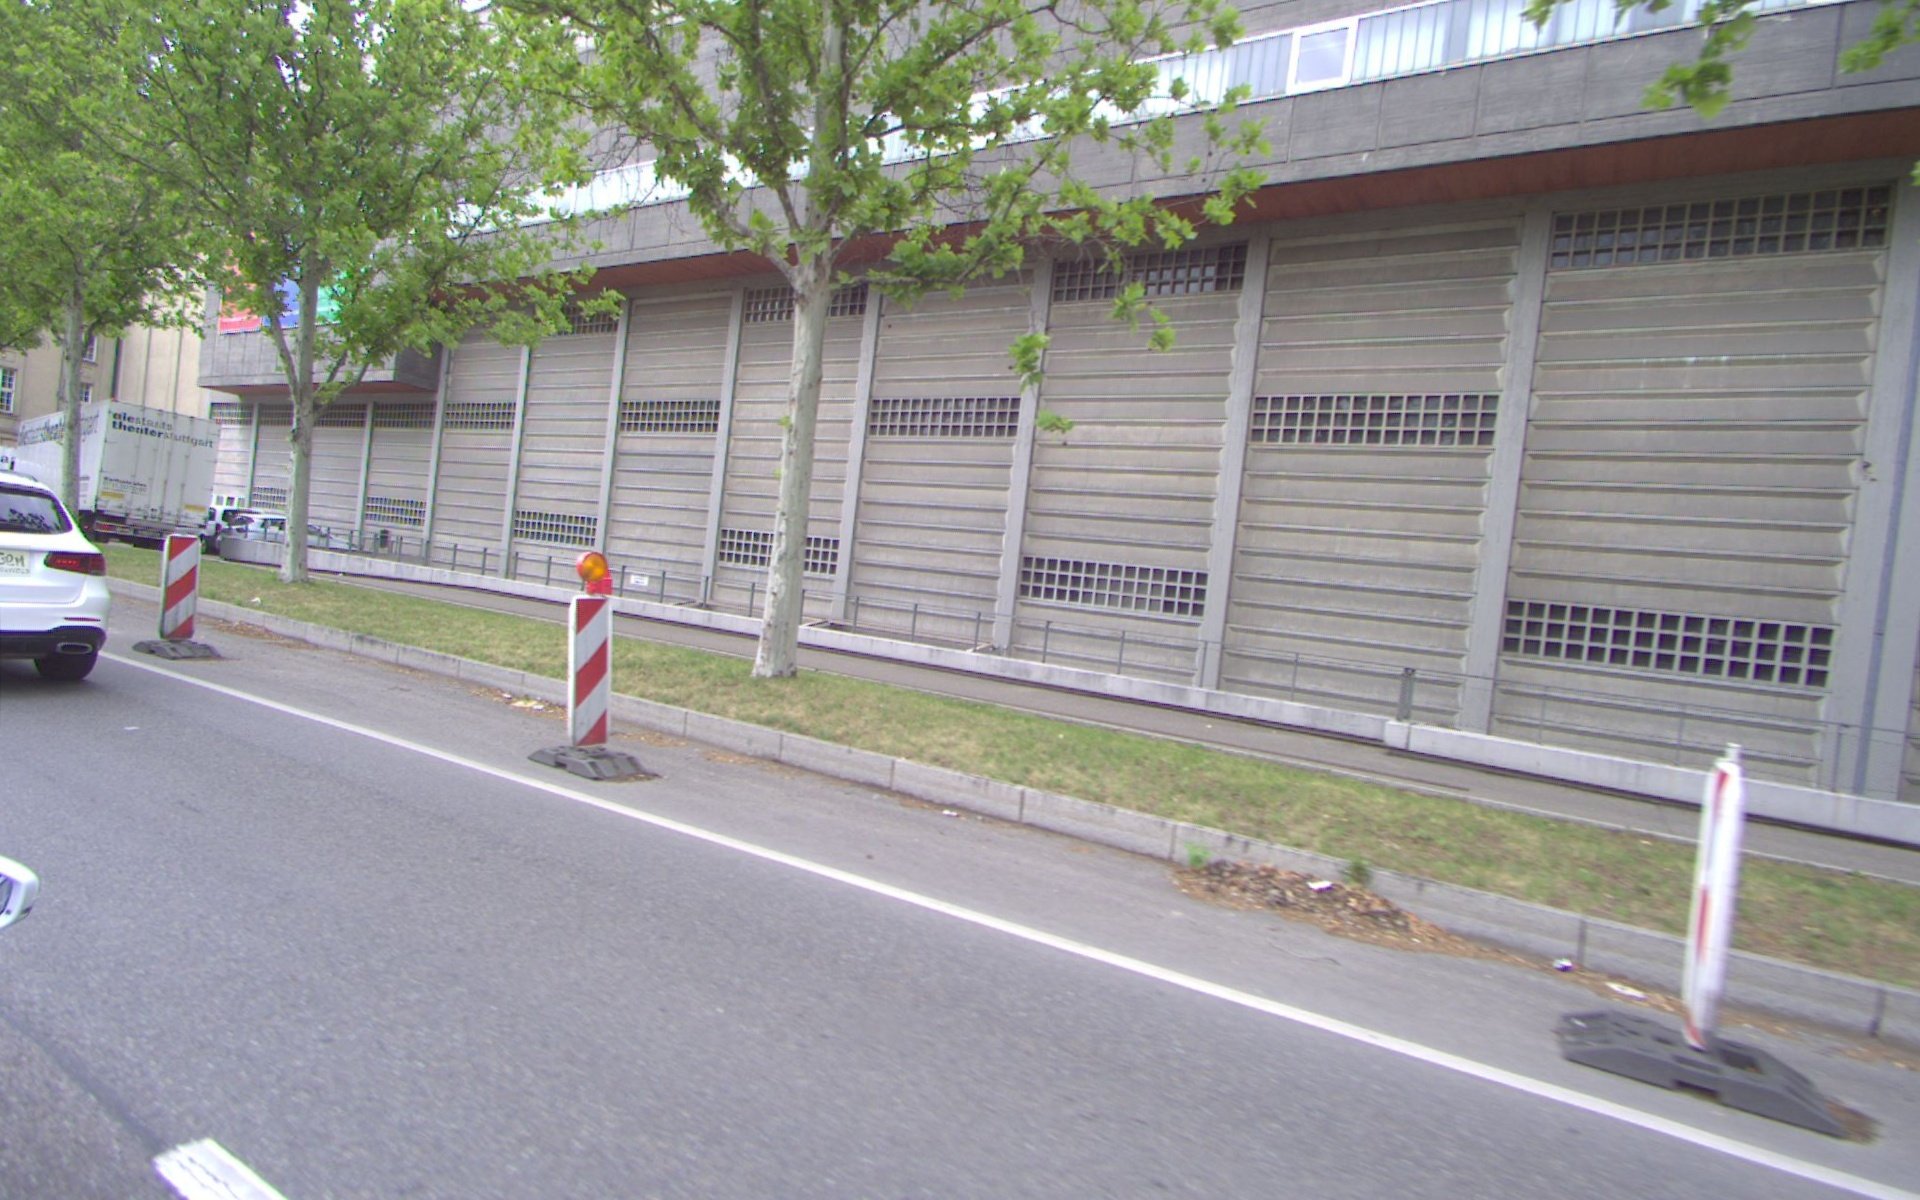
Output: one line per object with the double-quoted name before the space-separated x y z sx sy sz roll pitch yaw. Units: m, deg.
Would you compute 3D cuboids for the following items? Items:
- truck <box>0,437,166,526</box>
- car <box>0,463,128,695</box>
"truck" -42.216 -5.563 45.074 2.526 3.088 10.040 6 0 31
"car" -8.884 -0.385 8.178 4.475 1.665 1.812 7 3 30
